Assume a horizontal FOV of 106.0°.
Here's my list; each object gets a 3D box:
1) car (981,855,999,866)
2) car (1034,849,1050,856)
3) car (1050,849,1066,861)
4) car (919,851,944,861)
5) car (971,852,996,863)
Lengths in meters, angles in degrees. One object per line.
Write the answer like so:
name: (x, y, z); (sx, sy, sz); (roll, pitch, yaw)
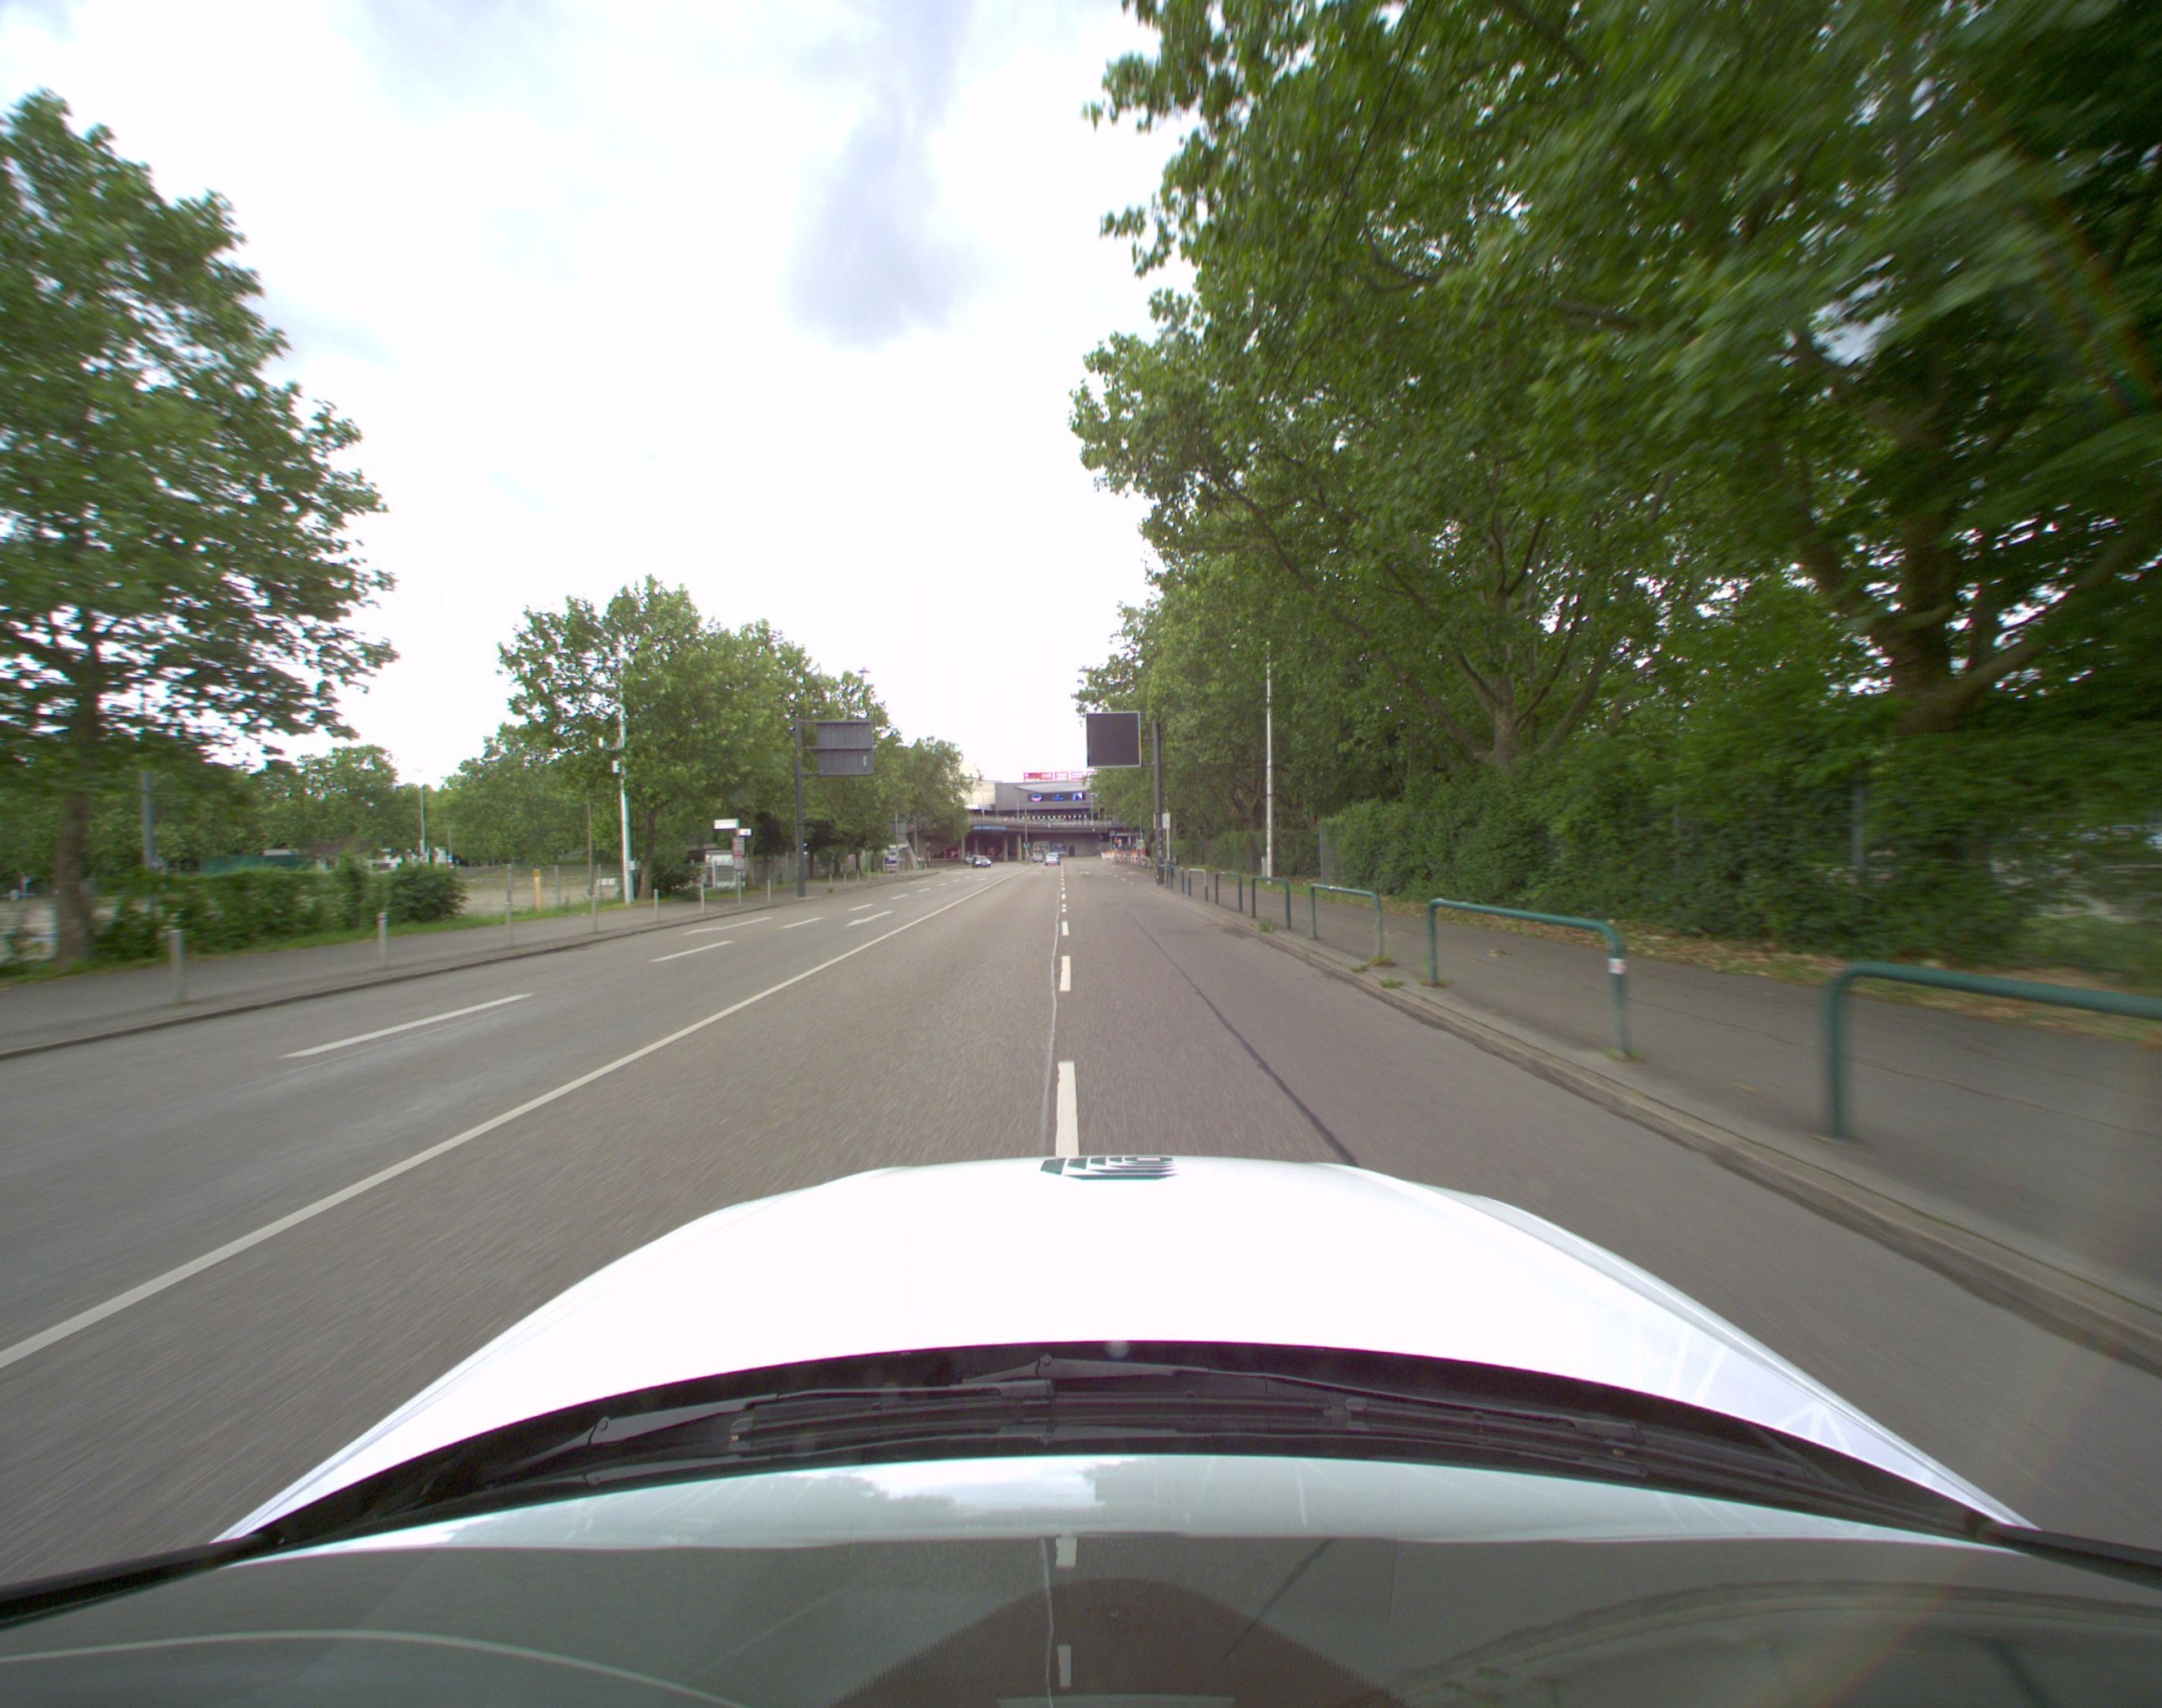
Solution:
car: (-11.123, 0.825, 99.213); (1.659, 1.272, 3.566); (0, 1, -15)
car: (-6.035, -0.225, 126.404); (1.418, 1.113, 3.012); (0, 1, -26)
car: (-2.871, 0.156, 101.292); (1.772, 1.460, 3.822); (0, 1, 1)
car: (-24.851, 0.331, 135.614); (3.607, 1.373, 1.760); (-2, 1, 24)
car: (-14.566, 0.566, 121.185); (1.635, 1.578, 3.834); (-3, 1, -44)
